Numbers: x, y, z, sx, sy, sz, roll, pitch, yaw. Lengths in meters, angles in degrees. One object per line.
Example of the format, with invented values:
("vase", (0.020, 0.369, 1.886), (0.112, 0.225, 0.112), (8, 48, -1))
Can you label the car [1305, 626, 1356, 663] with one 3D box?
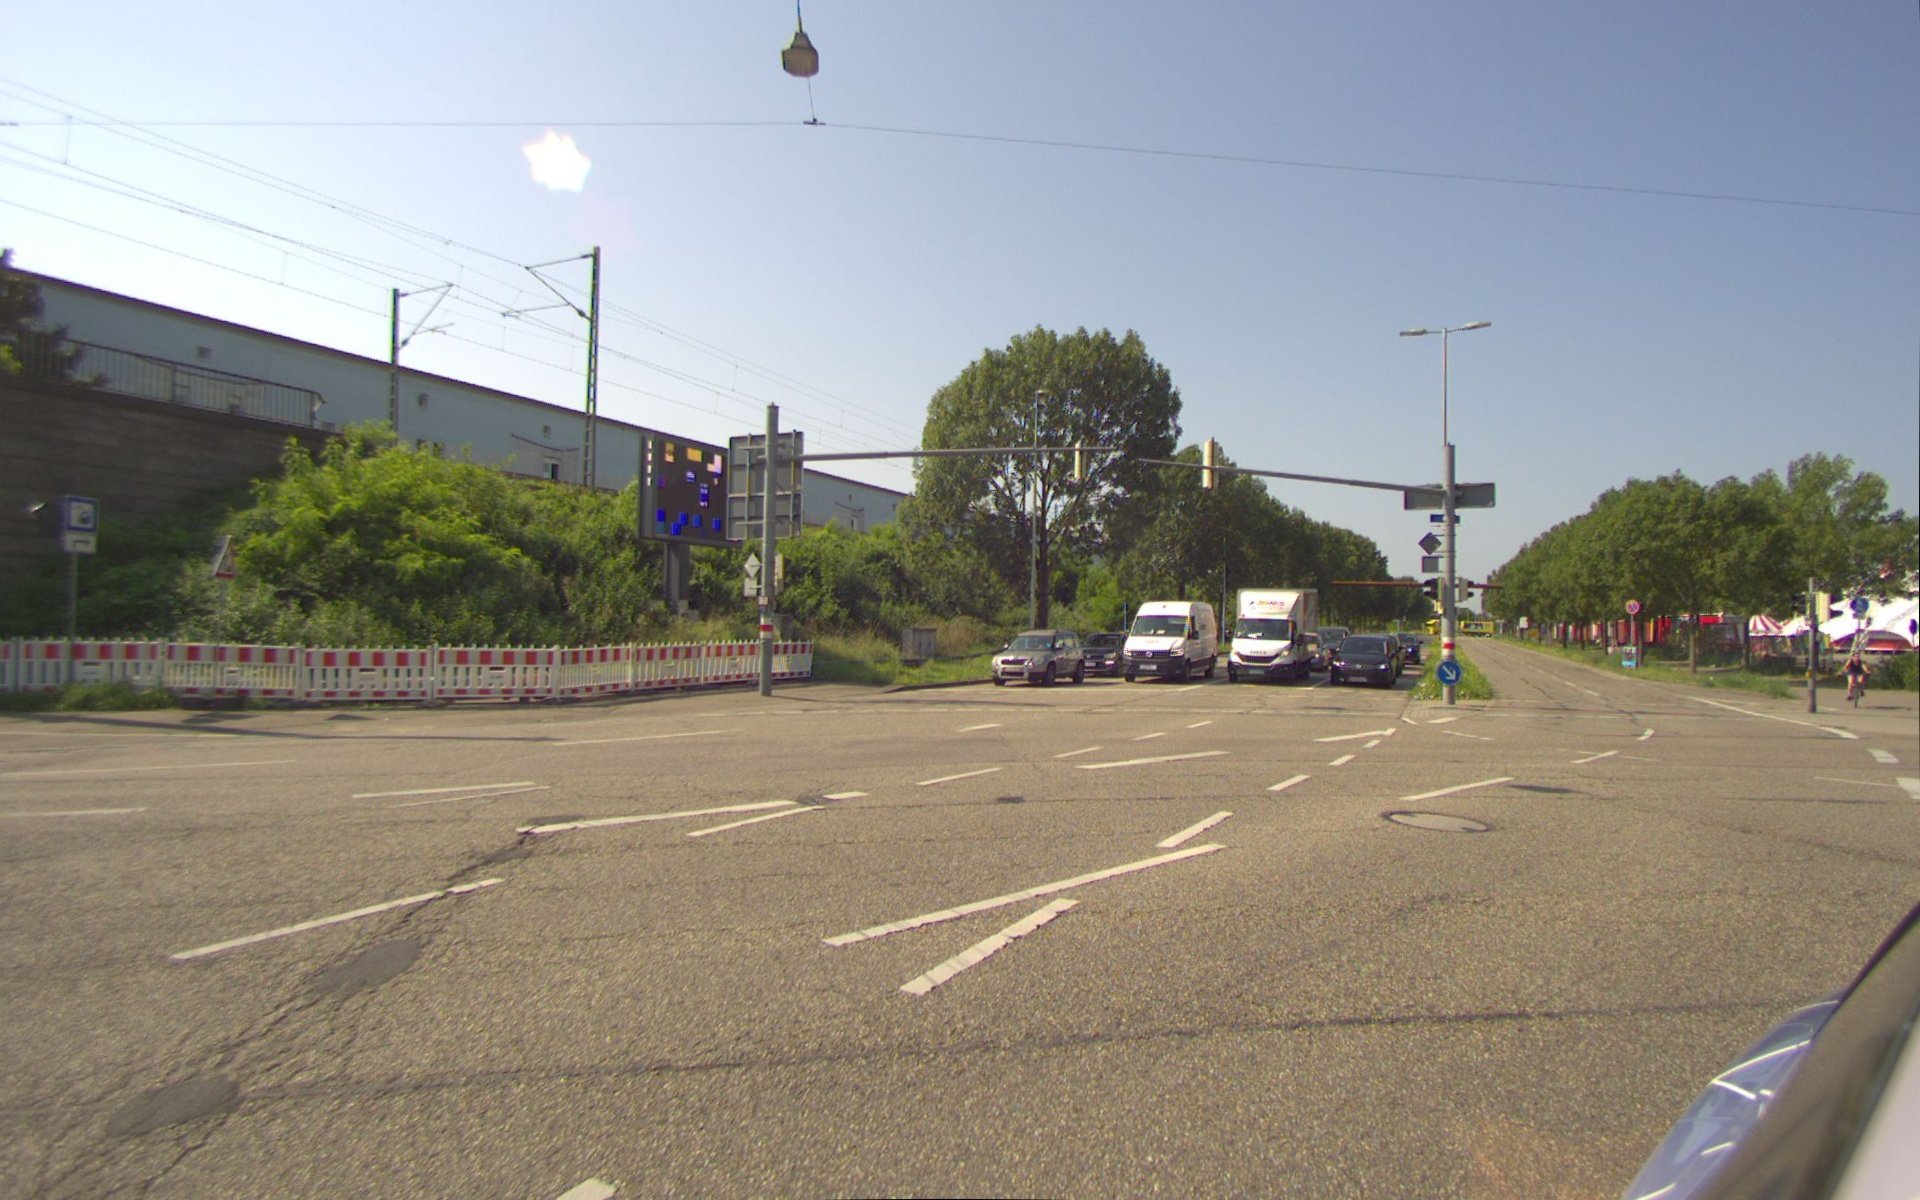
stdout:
("car", (18.023, 2.182, 49.131), (1.643, 1.686, 3.712), (-2, -4, 31))

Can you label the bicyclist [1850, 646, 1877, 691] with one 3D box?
("bicyclist", (28.240, 2.135, 31.620), (0.684, 1.383, 0.502), (4, -5, -41))

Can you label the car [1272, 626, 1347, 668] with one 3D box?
("car", (14.322, 1.963, 41.322), (2.146, 1.631, 4.923), (-2, -4, 28))

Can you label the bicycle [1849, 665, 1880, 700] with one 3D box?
("bicycle", (28.173, 2.563, 31.515), (1.468, 1.070, 0.571), (4, -4, -43))

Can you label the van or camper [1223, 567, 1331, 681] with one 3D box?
("van or camper", (10.726, 0.933, 33.837), (2.228, 3.407, 6.780), (-2, -4, 28))

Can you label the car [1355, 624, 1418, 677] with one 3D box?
("car", (19.878, 2.386, 47.025), (2.228, 2.292, 5.169), (-2, -4, 28))

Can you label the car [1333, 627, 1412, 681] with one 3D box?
("car", (13.577, 1.801, 33.148), (1.888, 1.634, 5.142), (-2, -4, 28))

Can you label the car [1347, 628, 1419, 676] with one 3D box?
("car", (16.771, 2.084, 39.963), (2.126, 1.763, 5.169), (-2, -4, 28))

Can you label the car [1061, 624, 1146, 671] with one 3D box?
("car", (5.137, 1.643, 35.818), (1.978, 1.572, 3.966), (-1, -2, 24))

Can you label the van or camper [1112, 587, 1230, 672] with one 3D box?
("van or camper", (7.107, 1.091, 33.368), (2.226, 2.516, 6.800), (-1, -4, 26))

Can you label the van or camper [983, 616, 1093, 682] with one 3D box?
("van or camper", (2.390, 1.492, 29.983), (1.833, 1.800, 4.133), (-2, -4, 27))

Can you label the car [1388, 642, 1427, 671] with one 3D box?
("car", (22.780, 2.877, 51.481), (1.640, 1.416, 3.718), (-1, -4, 26))
